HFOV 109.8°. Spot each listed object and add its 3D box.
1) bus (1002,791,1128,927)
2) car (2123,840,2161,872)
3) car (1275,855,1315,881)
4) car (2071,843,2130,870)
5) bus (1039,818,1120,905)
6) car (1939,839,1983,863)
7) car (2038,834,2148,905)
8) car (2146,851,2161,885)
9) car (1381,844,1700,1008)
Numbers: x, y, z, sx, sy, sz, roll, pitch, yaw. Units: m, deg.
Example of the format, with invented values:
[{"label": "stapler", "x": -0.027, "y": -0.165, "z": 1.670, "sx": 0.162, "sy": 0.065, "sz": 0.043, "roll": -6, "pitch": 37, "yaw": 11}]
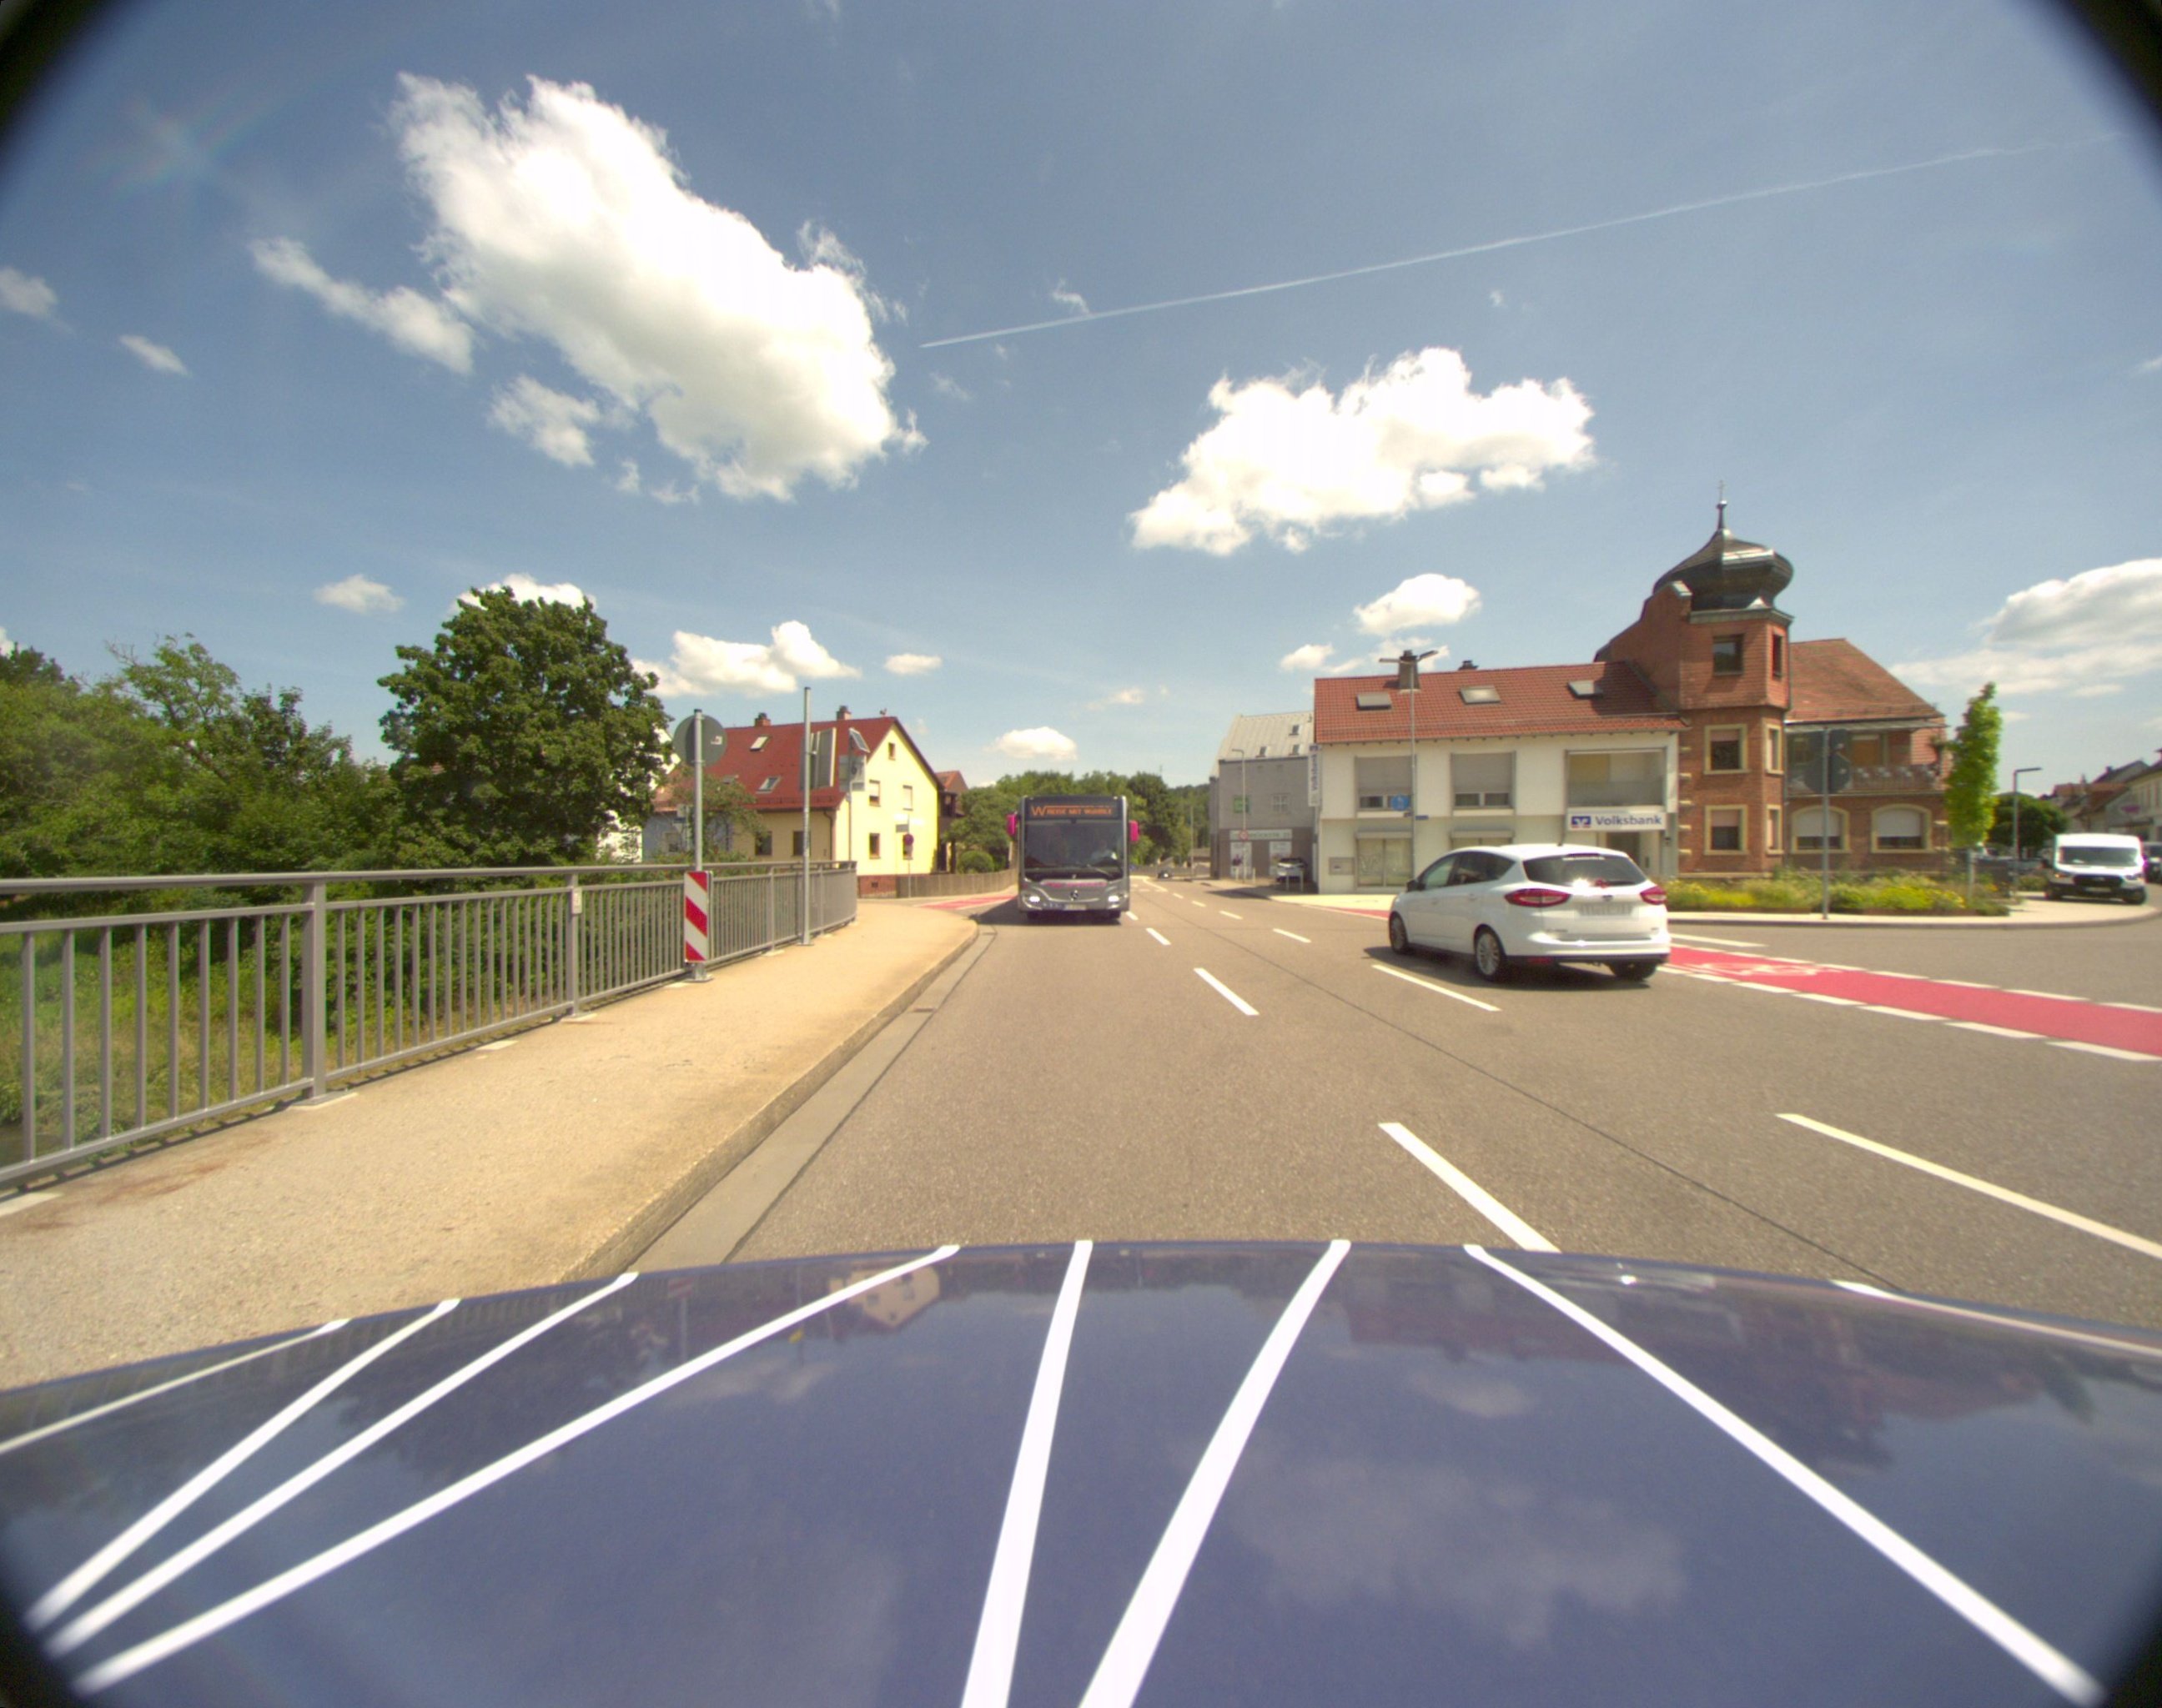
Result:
[{"label": "bus", "x": -0.161, "y": 0.253, "z": 21.425, "sx": 2.755, "sy": 2.949, "sz": 9.285, "roll": 1, "pitch": -2, "yaw": 2}, {"label": "car", "x": 62.408, "y": 0.119, "z": 43.947, "sx": 1.862, "sy": 1.839, "sz": 4.009, "roll": 2, "pitch": 1, "yaw": 45}, {"label": "car", "x": 13.942, "y": 0.891, "z": 49.299, "sx": 1.995, "sy": 1.565, "sz": 4.260, "roll": 1, "pitch": 0, "yaw": 22}, {"label": "car", "x": 72.113, "y": 0.177, "z": 53.790, "sx": 1.862, "sy": 1.839, "sz": 4.009, "roll": 2, "pitch": 1, "yaw": 45}, {"label": "bus", "x": 0.079, "y": 0.412, "z": 30.795, "sx": 2.755, "sy": 2.949, "sz": 9.284, "roll": 1, "pitch": -2, "yaw": 2}, {"label": "car", "x": 77.292, "y": -0.292, "z": 66.790, "sx": 1.994, "sy": 2.002, "sz": 4.009, "roll": 1, "pitch": 1, "yaw": 42}, {"label": "car", "x": 36.241, "y": 0.494, "z": 27.342, "sx": 5.122, "sy": 2.332, "sz": 2.167, "roll": 0, "pitch": 1, "yaw": -39}, {"label": "car", "x": 58.959, "y": 0.758, "z": 40.466, "sx": 1.862, "sy": 1.839, "sz": 4.009, "roll": 2, "pitch": 1, "yaw": 45}, {"label": "car", "x": 5.481, "y": 0.725, "z": 9.766, "sx": 1.819, "sy": 1.640, "sz": 4.000, "roll": -2, "pitch": 1, "yaw": 3}]
